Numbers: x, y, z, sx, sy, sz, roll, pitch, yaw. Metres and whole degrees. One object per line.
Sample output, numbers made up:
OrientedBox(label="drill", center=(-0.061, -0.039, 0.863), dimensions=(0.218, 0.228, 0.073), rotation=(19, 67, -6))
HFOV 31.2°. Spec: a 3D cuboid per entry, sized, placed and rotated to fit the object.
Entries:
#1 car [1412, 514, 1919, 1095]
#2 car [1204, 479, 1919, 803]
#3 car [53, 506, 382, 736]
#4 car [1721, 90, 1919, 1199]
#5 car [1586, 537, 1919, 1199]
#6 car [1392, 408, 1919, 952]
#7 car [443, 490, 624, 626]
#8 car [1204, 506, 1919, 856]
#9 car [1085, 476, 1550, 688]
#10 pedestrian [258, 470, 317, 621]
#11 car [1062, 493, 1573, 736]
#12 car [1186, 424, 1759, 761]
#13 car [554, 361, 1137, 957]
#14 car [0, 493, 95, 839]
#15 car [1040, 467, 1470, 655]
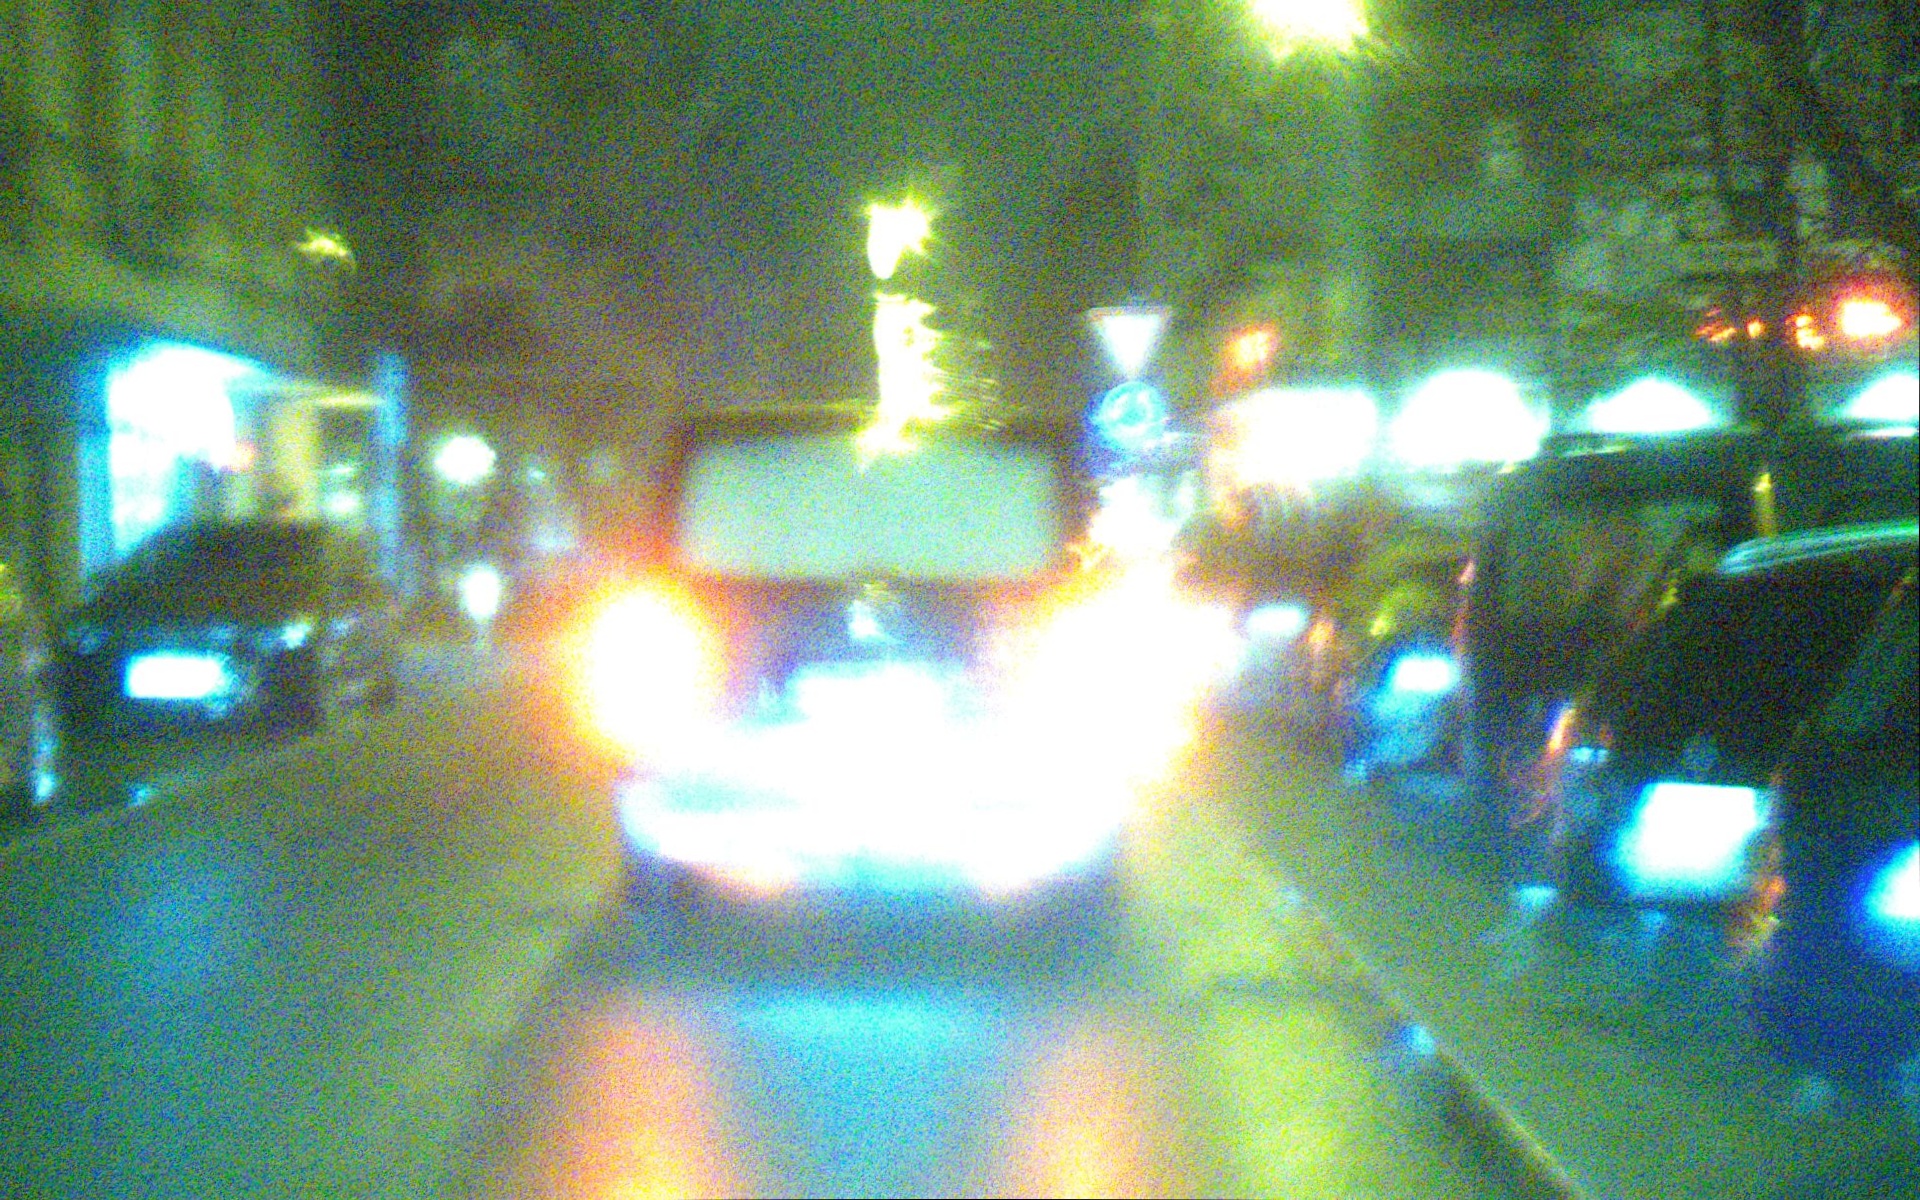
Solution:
OrientedBox(label="car", center=(3.323, 0.471, 10.649), dimensions=(3.555, 1.479, 1.726), rotation=(-3, 2, -36))
OrientedBox(label="car", center=(3.594, 0.175, 20.137), dimensions=(3.988, 1.582, 1.880), rotation=(-4, 2, -36))
OrientedBox(label="car", center=(-5.397, 0.093, 25.455), dimensions=(1.812, 1.552, 4.077), rotation=(1, 1, -4))
OrientedBox(label="car", center=(3.642, 0.342, 5.120), dimensions=(4.784, 2.042, 2.067), rotation=(-1, 2, -31))
OrientedBox(label="car", center=(3.292, 0.563, 8.008), dimensions=(3.504, 1.489, 1.450), rotation=(-3, 1, -32))
OrientedBox(label="car", center=(3.675, 0.198, 13.439), dimensions=(3.738, 1.834, 1.726), rotation=(-3, 2, -37))
OrientedBox(label="car", center=(-5.523, -0.569, 44.956), dimensions=(1.883, 1.679, 4.000), rotation=(1, 1, -1))
OrientedBox(label="car", center=(3.124, 0.327, 16.792), dimensions=(3.554, 1.448, 1.672), rotation=(-3, 2, -35))
OrientedBox(label="car", center=(3.298, -0.222, 31.402), dimensions=(3.988, 1.755, 1.880), rotation=(-3, 3, -37))
OrientedBox(label="pedestrian", center=(-8.548, -0.693, 43.707), dimensions=(0.660, 1.897, 0.539), rotation=(1, 1, -4))
OrientedBox(label="car", center=(2.665, 0.070, 25.333), dimensions=(3.555, 1.585, 1.605), rotation=(-3, 2, -37))
OrientedBox(label="car", center=(3.379, -0.096, 22.416), dimensions=(3.555, 1.984, 1.605), rotation=(-3, 2, -37))
OrientedBox(label="car", center=(-0.415, 0.181, 13.835), dimensions=(1.993, 2.043, 4.000), rotation=(0, 1, -1))
OrientedBox(label="car", center=(-5.152, 0.283, 15.657), dimensions=(1.655, 1.552, 4.077), rotation=(1, 1, -4))
OrientedBox(label="car", center=(2.956, -0.401, 34.104), dimensions=(3.988, 1.755, 1.880), rotation=(0, 2, -37))
